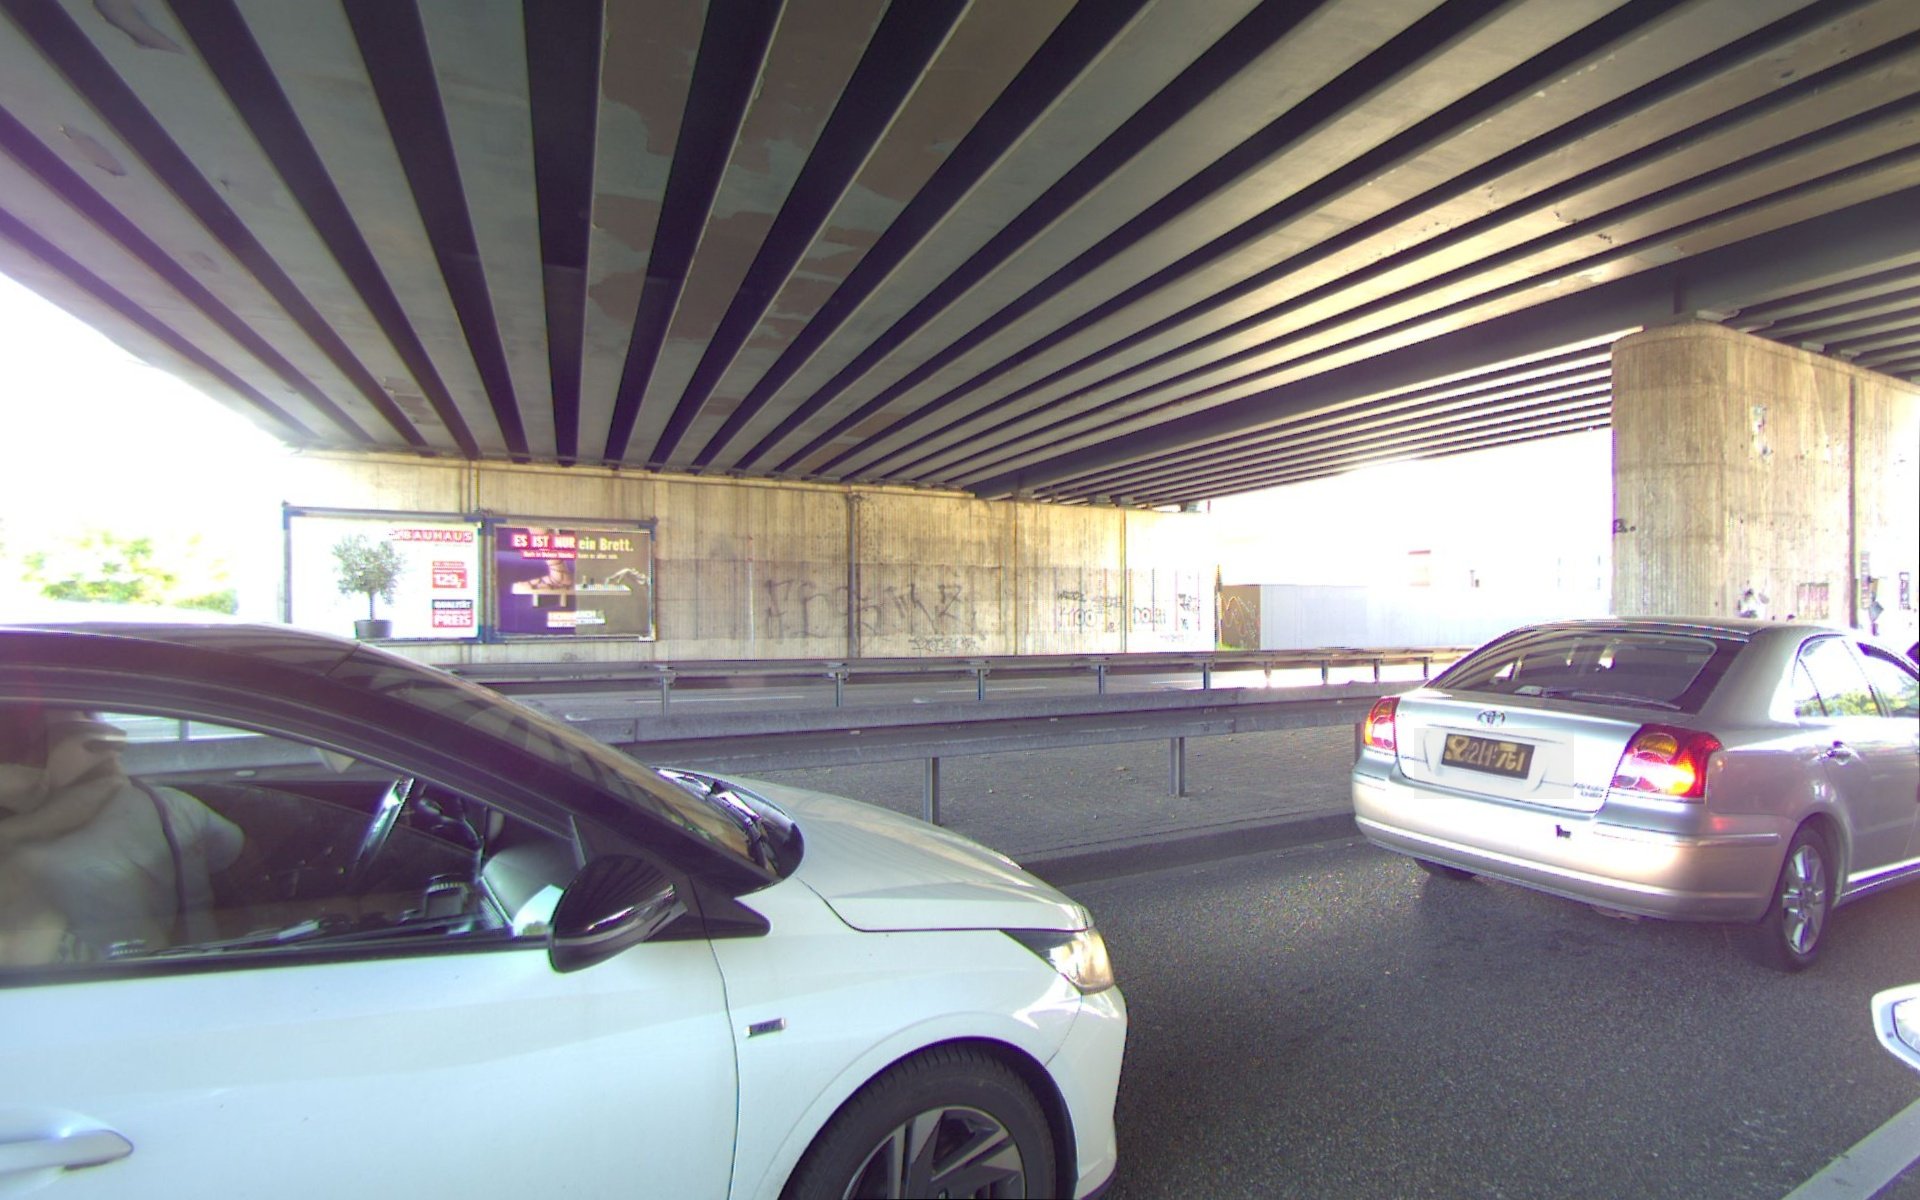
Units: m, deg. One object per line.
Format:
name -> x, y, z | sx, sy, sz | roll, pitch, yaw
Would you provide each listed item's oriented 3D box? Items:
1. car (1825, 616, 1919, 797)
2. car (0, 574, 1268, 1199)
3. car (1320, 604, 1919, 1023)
car -> 9.539, 0.882, 8.871 | 3.687, 1.457, 1.804 | 0, 0, -31
car -> -1.427, 0.726, 1.975 | 3.946, 1.499, 1.724 | 1, -1, -32
car -> 4.082, 0.811, 5.466 | 4.270, 1.499, 1.724 | 1, -1, -32
